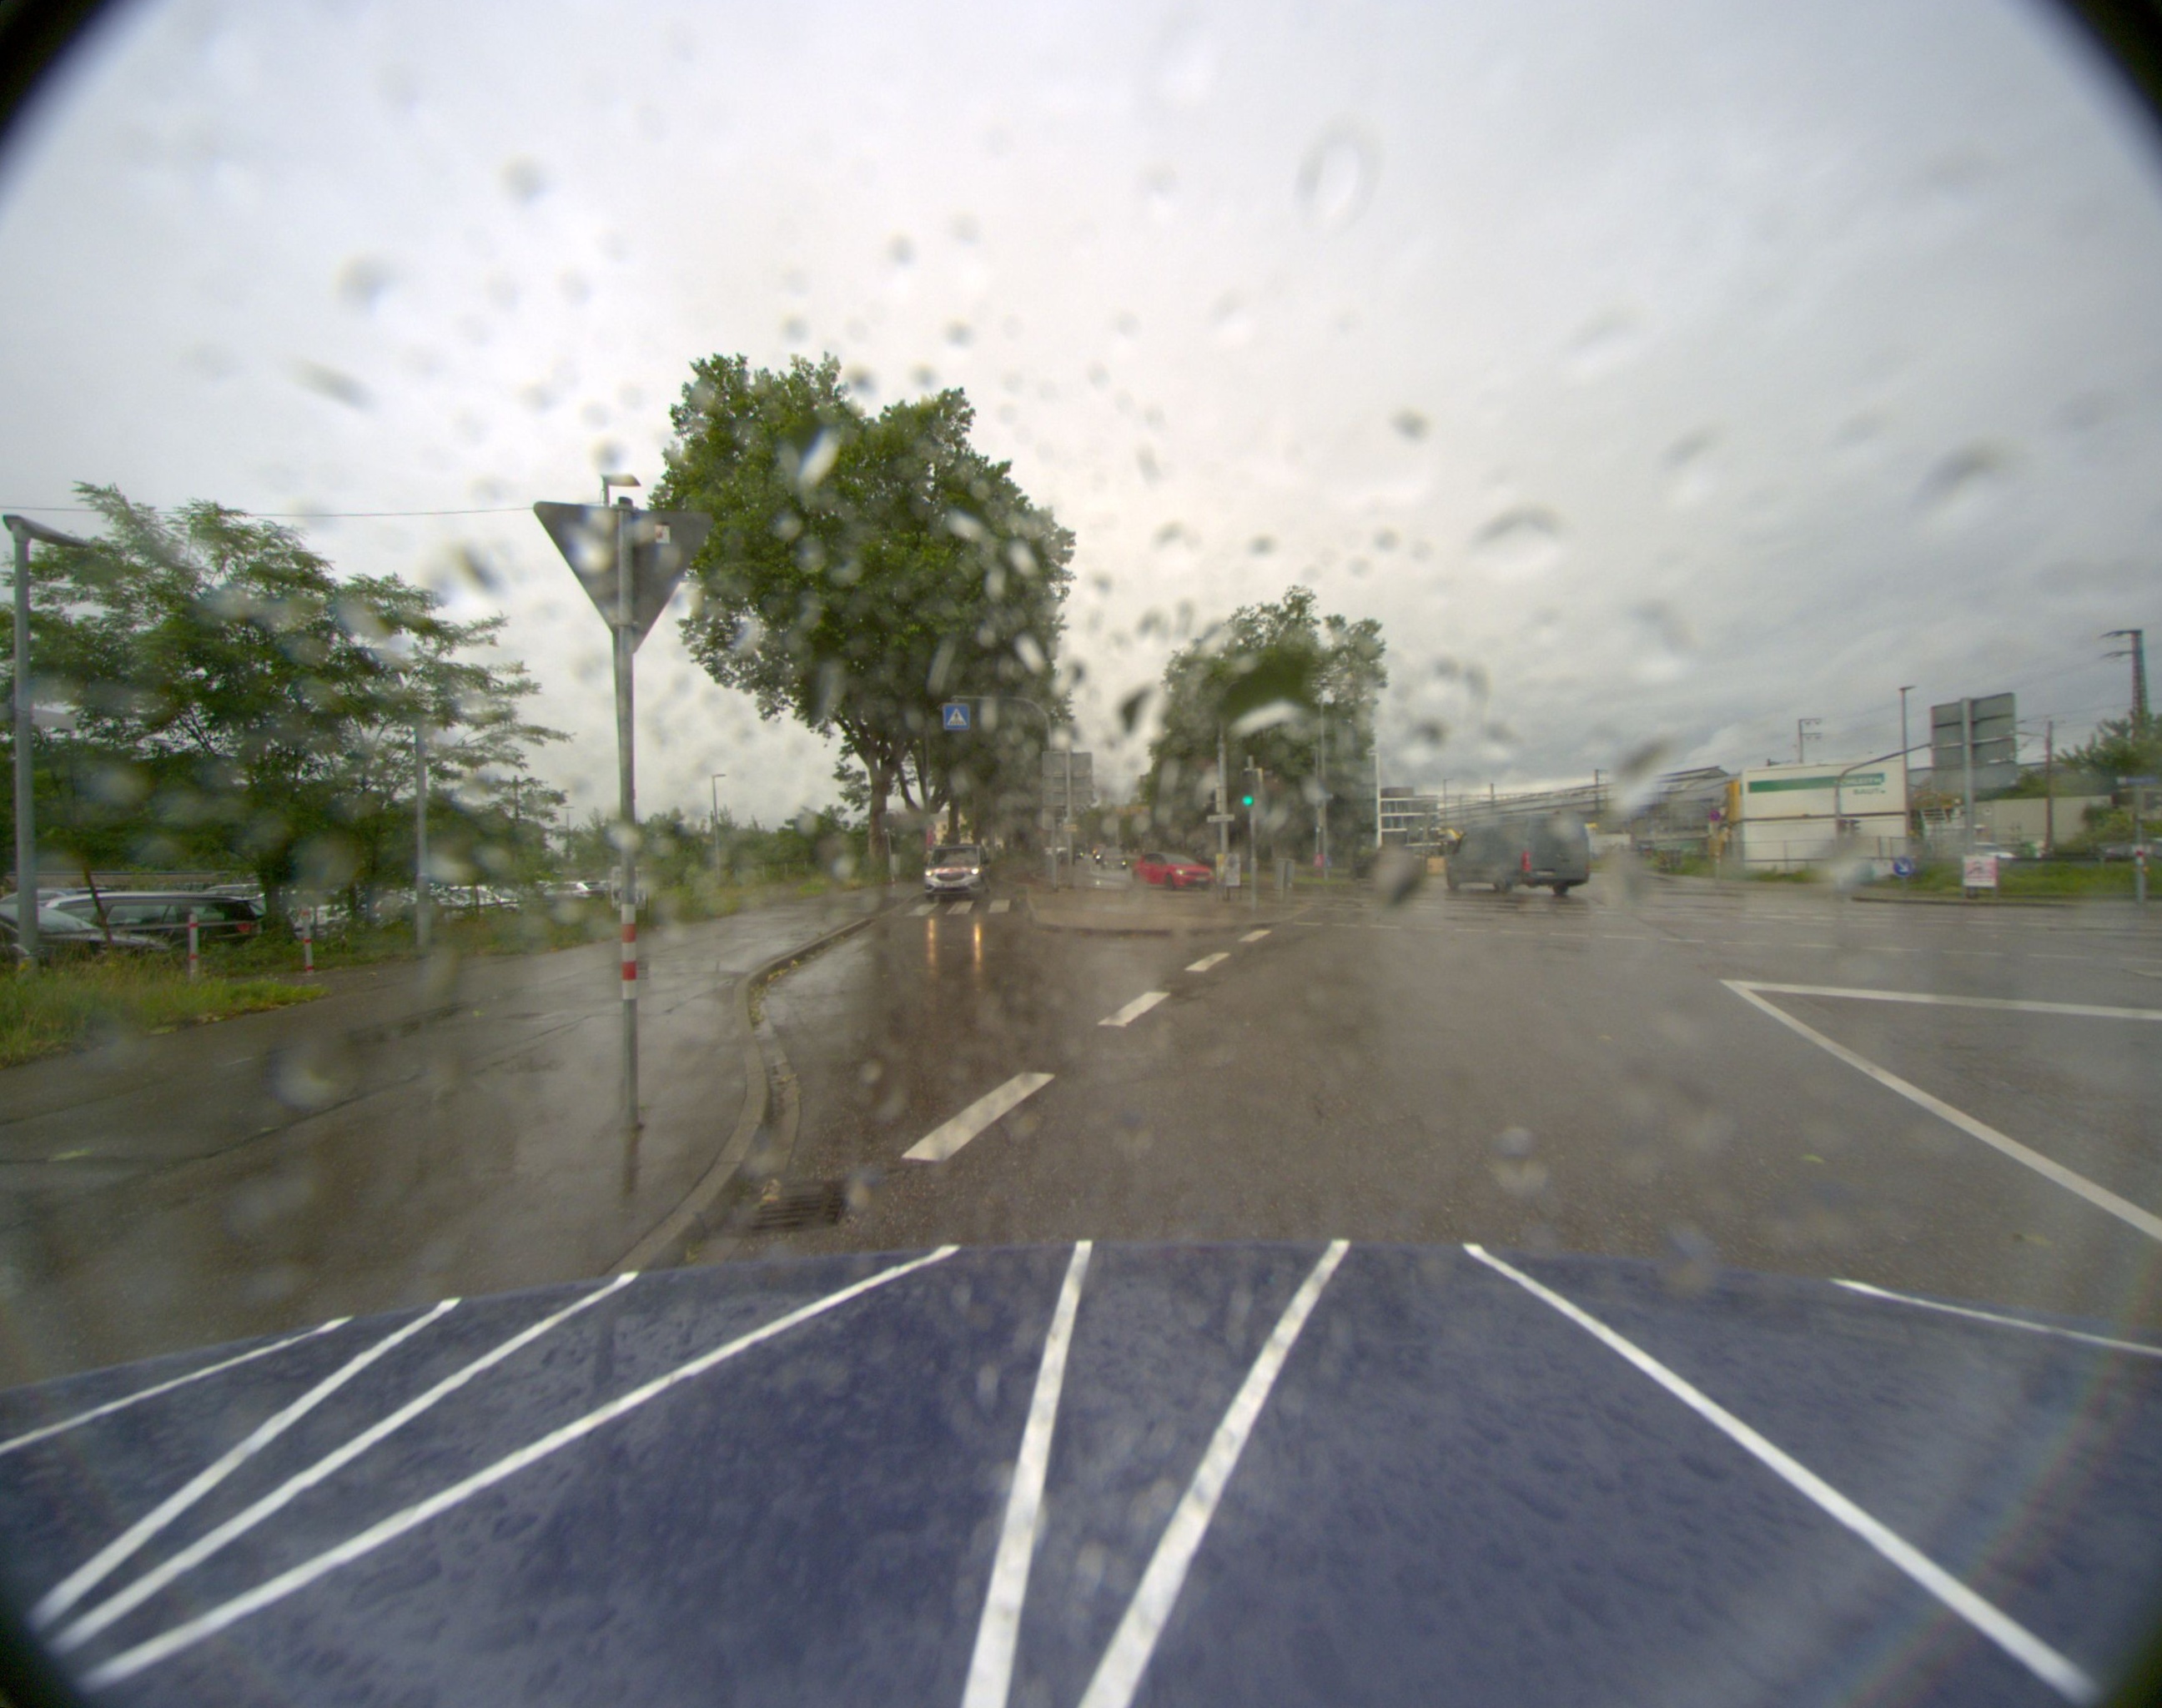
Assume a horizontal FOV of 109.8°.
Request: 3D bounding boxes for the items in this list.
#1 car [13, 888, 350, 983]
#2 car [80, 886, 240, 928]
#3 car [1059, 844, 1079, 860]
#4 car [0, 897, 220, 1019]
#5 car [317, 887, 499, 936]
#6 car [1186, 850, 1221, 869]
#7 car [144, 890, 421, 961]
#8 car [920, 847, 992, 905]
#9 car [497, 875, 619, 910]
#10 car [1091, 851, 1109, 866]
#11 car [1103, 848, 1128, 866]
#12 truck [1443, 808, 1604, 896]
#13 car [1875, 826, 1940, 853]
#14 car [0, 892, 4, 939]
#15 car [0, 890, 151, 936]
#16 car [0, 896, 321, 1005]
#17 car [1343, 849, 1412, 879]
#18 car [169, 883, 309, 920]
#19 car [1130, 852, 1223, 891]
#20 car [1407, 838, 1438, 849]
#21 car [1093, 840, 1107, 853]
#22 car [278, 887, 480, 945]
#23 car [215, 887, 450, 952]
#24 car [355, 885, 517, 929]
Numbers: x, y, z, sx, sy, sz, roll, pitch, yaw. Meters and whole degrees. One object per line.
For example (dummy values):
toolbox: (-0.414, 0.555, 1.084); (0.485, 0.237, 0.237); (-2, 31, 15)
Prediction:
car: (-18.018, 1.564, 15.546); (4.005, 1.514, 1.872); (-1, 0, -27)
car: (-35.322, 2.010, 29.204); (3.996, 1.429, 1.818); (-1, 0, 2)
car: (-1.137, -0.148, 72.233); (1.743, 1.437, 4.000); (0, 0, 1)
car: (-15.346, 1.469, 10.608); (4.005, 1.481, 1.701); (-1, 1, -27)
car: (-24.471, 2.044, 27.863); (4.551, 1.457, 2.000); (-1, 0, -22)
car: (10.705, 0.461, 66.850); (2.000, 1.632, 3.997); (-1, 0, -7)
car: (-20.811, 1.808, 20.132); (4.652, 1.475, 1.872); (-1, 0, -26)
car: (-4.035, 0.648, 25.192); (1.839, 1.714, 4.171); (-2, 1, -3)
car: (-24.931, 1.820, 36.399); (4.399, 1.422, 1.873); (-1, 0, -16)
car: (1.814, 0.441, 74.682); (1.644, 1.346, 3.774); (-1, 0, 0)
car: (2.675, 0.230, 59.469); (1.743, 1.373, 4.000); (0, 0, -1)
truck: (14.868, -0.081, 26.191); (2.089, 2.604, 6.980); (-1, 0, 6)
car: (64.847, -1.176, 59.696); (1.995, 2.002, 4.005); (-1, 2, 24)
car: (-35.707, 1.960, 22.835); (3.996, 1.465, 1.961); (-1, 0, 2)
car: (-35.540, 2.052, 26.521); (3.996, 1.429, 1.818); (-1, 0, 2)
car: (-16.406, 1.614, 13.279); (4.005, 1.494, 1.872); (-1, 0, -27)
car: (14.927, 0.535, 38.447); (1.650, 1.443, 3.529); (0, -2, -9)
car: (-35.681, 1.999, 32.266); (3.996, 1.429, 1.818); (-1, 0, 2)
car: (3.620, 0.645, 29.601); (1.747, 1.373, 3.992); (-2, 1, -24)
car: (52.595, -1.674, 117.022); (3.997, 1.599, 1.787); (-1, 0, 0)
car: (2.616, -1.016, 104.901); (1.853, 1.593, 4.500); (0, 0, 1)
car: (-23.163, 1.995, 25.334); (4.553, 1.550, 1.872); (-1, 0, -26)
car: (-21.859, 1.855, 22.481); (4.553, 1.550, 1.872); (-1, 0, -26)
car: (-25.373, 2.052, 30.134); (4.553, 1.422, 1.872); (-1, 0, -26)
